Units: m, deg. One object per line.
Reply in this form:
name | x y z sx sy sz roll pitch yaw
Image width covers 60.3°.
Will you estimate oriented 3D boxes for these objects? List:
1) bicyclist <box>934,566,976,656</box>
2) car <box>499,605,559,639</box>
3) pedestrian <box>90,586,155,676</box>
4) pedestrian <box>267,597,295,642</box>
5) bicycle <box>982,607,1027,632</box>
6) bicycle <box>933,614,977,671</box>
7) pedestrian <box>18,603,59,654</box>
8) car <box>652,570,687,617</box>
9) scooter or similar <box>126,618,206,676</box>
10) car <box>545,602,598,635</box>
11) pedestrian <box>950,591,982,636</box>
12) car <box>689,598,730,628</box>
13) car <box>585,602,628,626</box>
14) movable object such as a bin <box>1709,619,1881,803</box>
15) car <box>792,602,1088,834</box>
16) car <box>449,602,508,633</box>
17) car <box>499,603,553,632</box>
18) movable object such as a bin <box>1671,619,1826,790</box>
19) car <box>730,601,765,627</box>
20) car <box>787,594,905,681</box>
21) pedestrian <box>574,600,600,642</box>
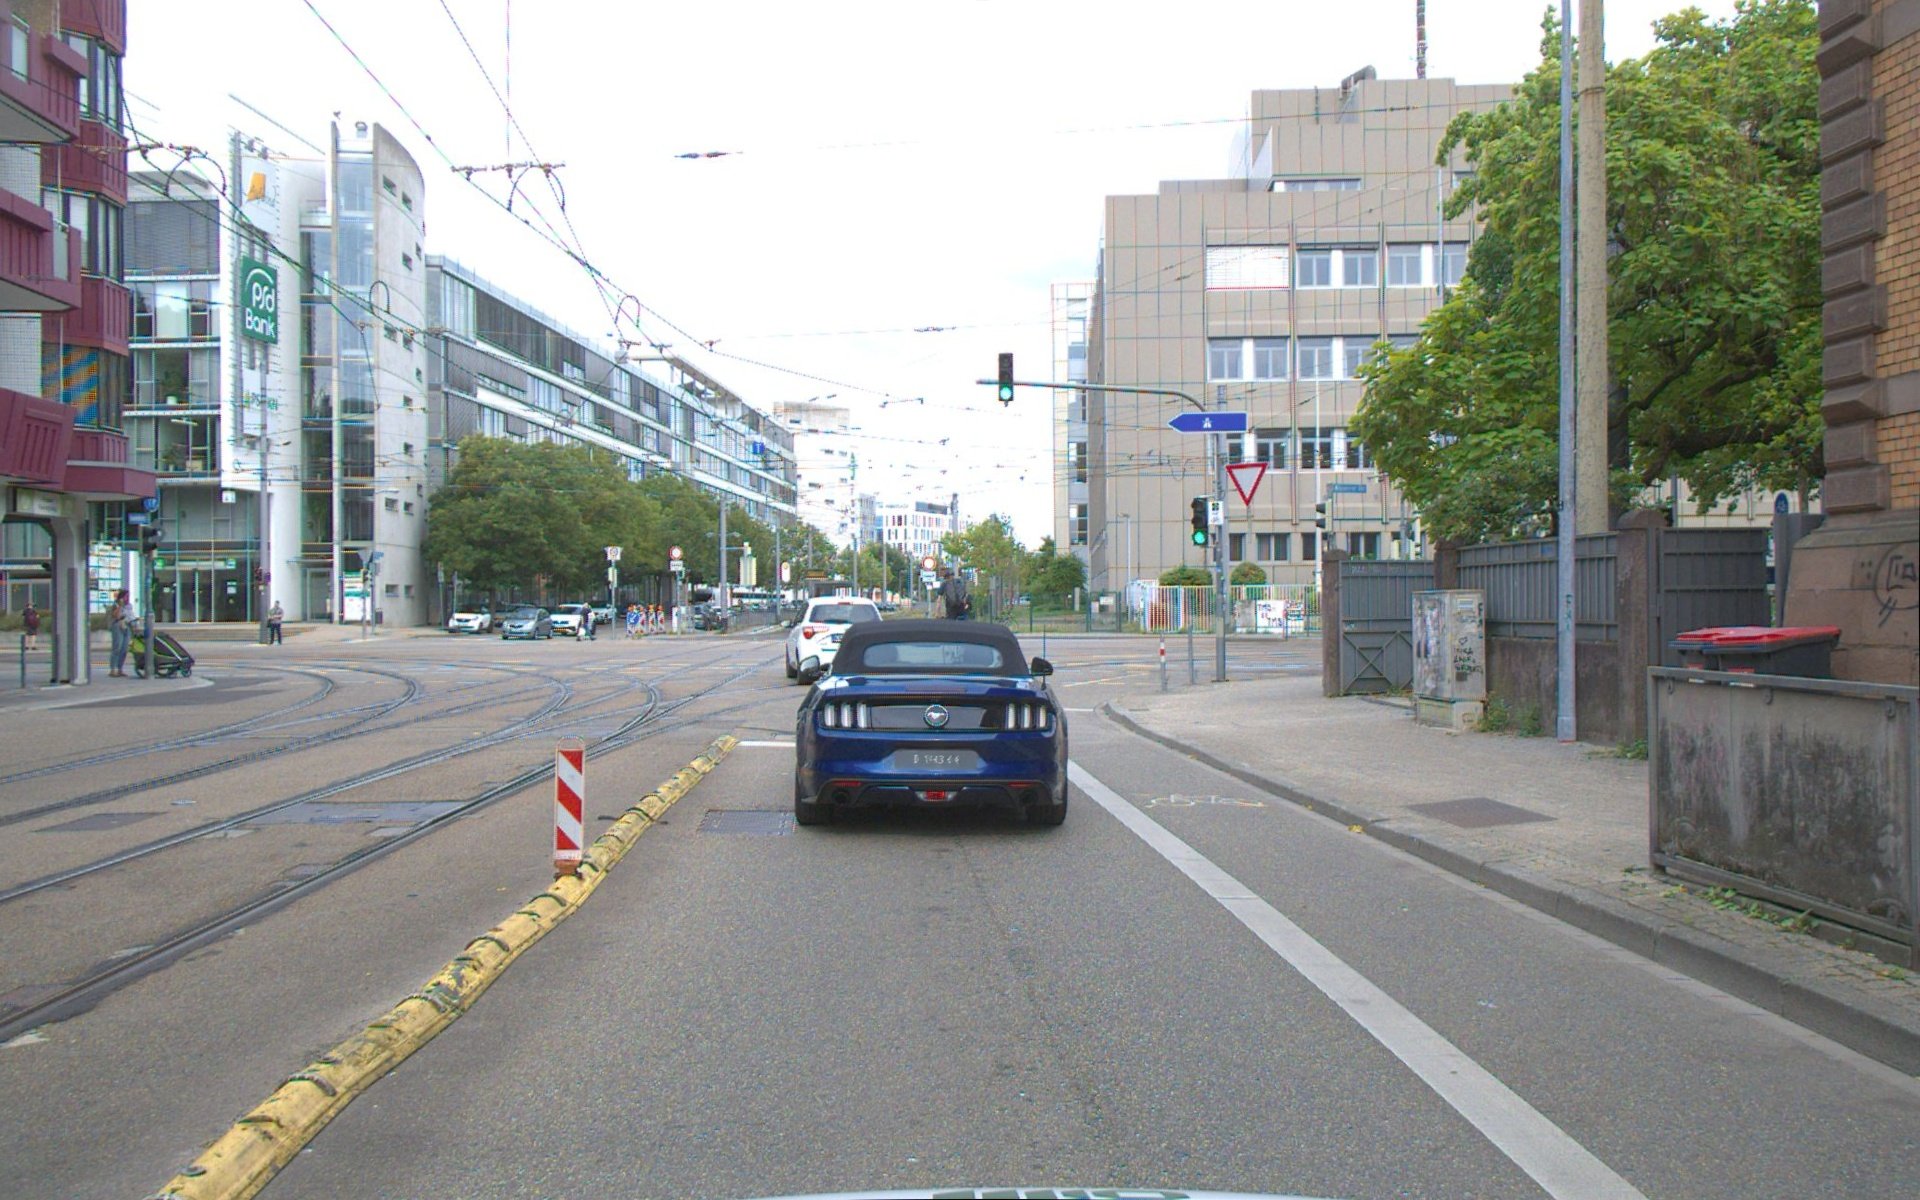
bicyclist | -0.115 0.224 34.128 0.780 1.817 1.232 -1 0 -3
car | -21.081 1.053 81.126 1.633 1.533 4.236 1 0 2
pedestrian | -16.902 0.616 33.398 0.929 1.774 0.811 0 0 -5
pedestrian | -28.775 0.828 70.087 0.816 1.897 0.766 -1 0 11
bicycle | 1.907 0.838 71.536 0.629 0.998 2.124 0 -3 -43
bicycle | -0.119 0.853 34.108 0.784 1.105 2.130 -1 0 -3
pedestrian | -31.224 0.955 56.024 0.915 1.700 0.766 -1 0 11
car | -23.421 -0.547 133.496 1.945 3.700 4.512 1 0 0
scooter or similar | -16.063 0.940 33.492 1.172 1.148 0.946 0 0 -4
car | -20.804 0.973 88.669 1.679 1.689 4.134 1 0 2
pedestrian | 0.271 0.594 71.356 1.064 1.931 0.901 -1 0 26
car | -14.466 0.718 95.604 1.841 1.657 4.085 -1 0 -1
car | -24.424 0.952 114.439 1.945 1.584 4.512 1 0 0
movable object such as a bin | 5.394 0.696 10.715 0.651 1.101 0.700 -4 -1 -6
car | -0.163 0.740 12.487 1.838 1.428 4.281 1 0 -1
car | -25.863 0.943 88.974 1.791 1.584 4.218 1 0 2
car | -25.215 0.983 96.212 1.791 1.584 4.218 1 0 2
movable object such as a bin | 5.434 0.704 11.432 0.638 1.101 0.677 -4 -1 -7
car | -13.987 0.905 109.152 1.830 1.634 4.211 -1 0 -1
car | -2.156 0.641 30.268 1.801 1.464 4.179 -1 0 -9
pedestrian | -16.918 0.958 75.055 0.968 1.888 0.902 -1 0 1
